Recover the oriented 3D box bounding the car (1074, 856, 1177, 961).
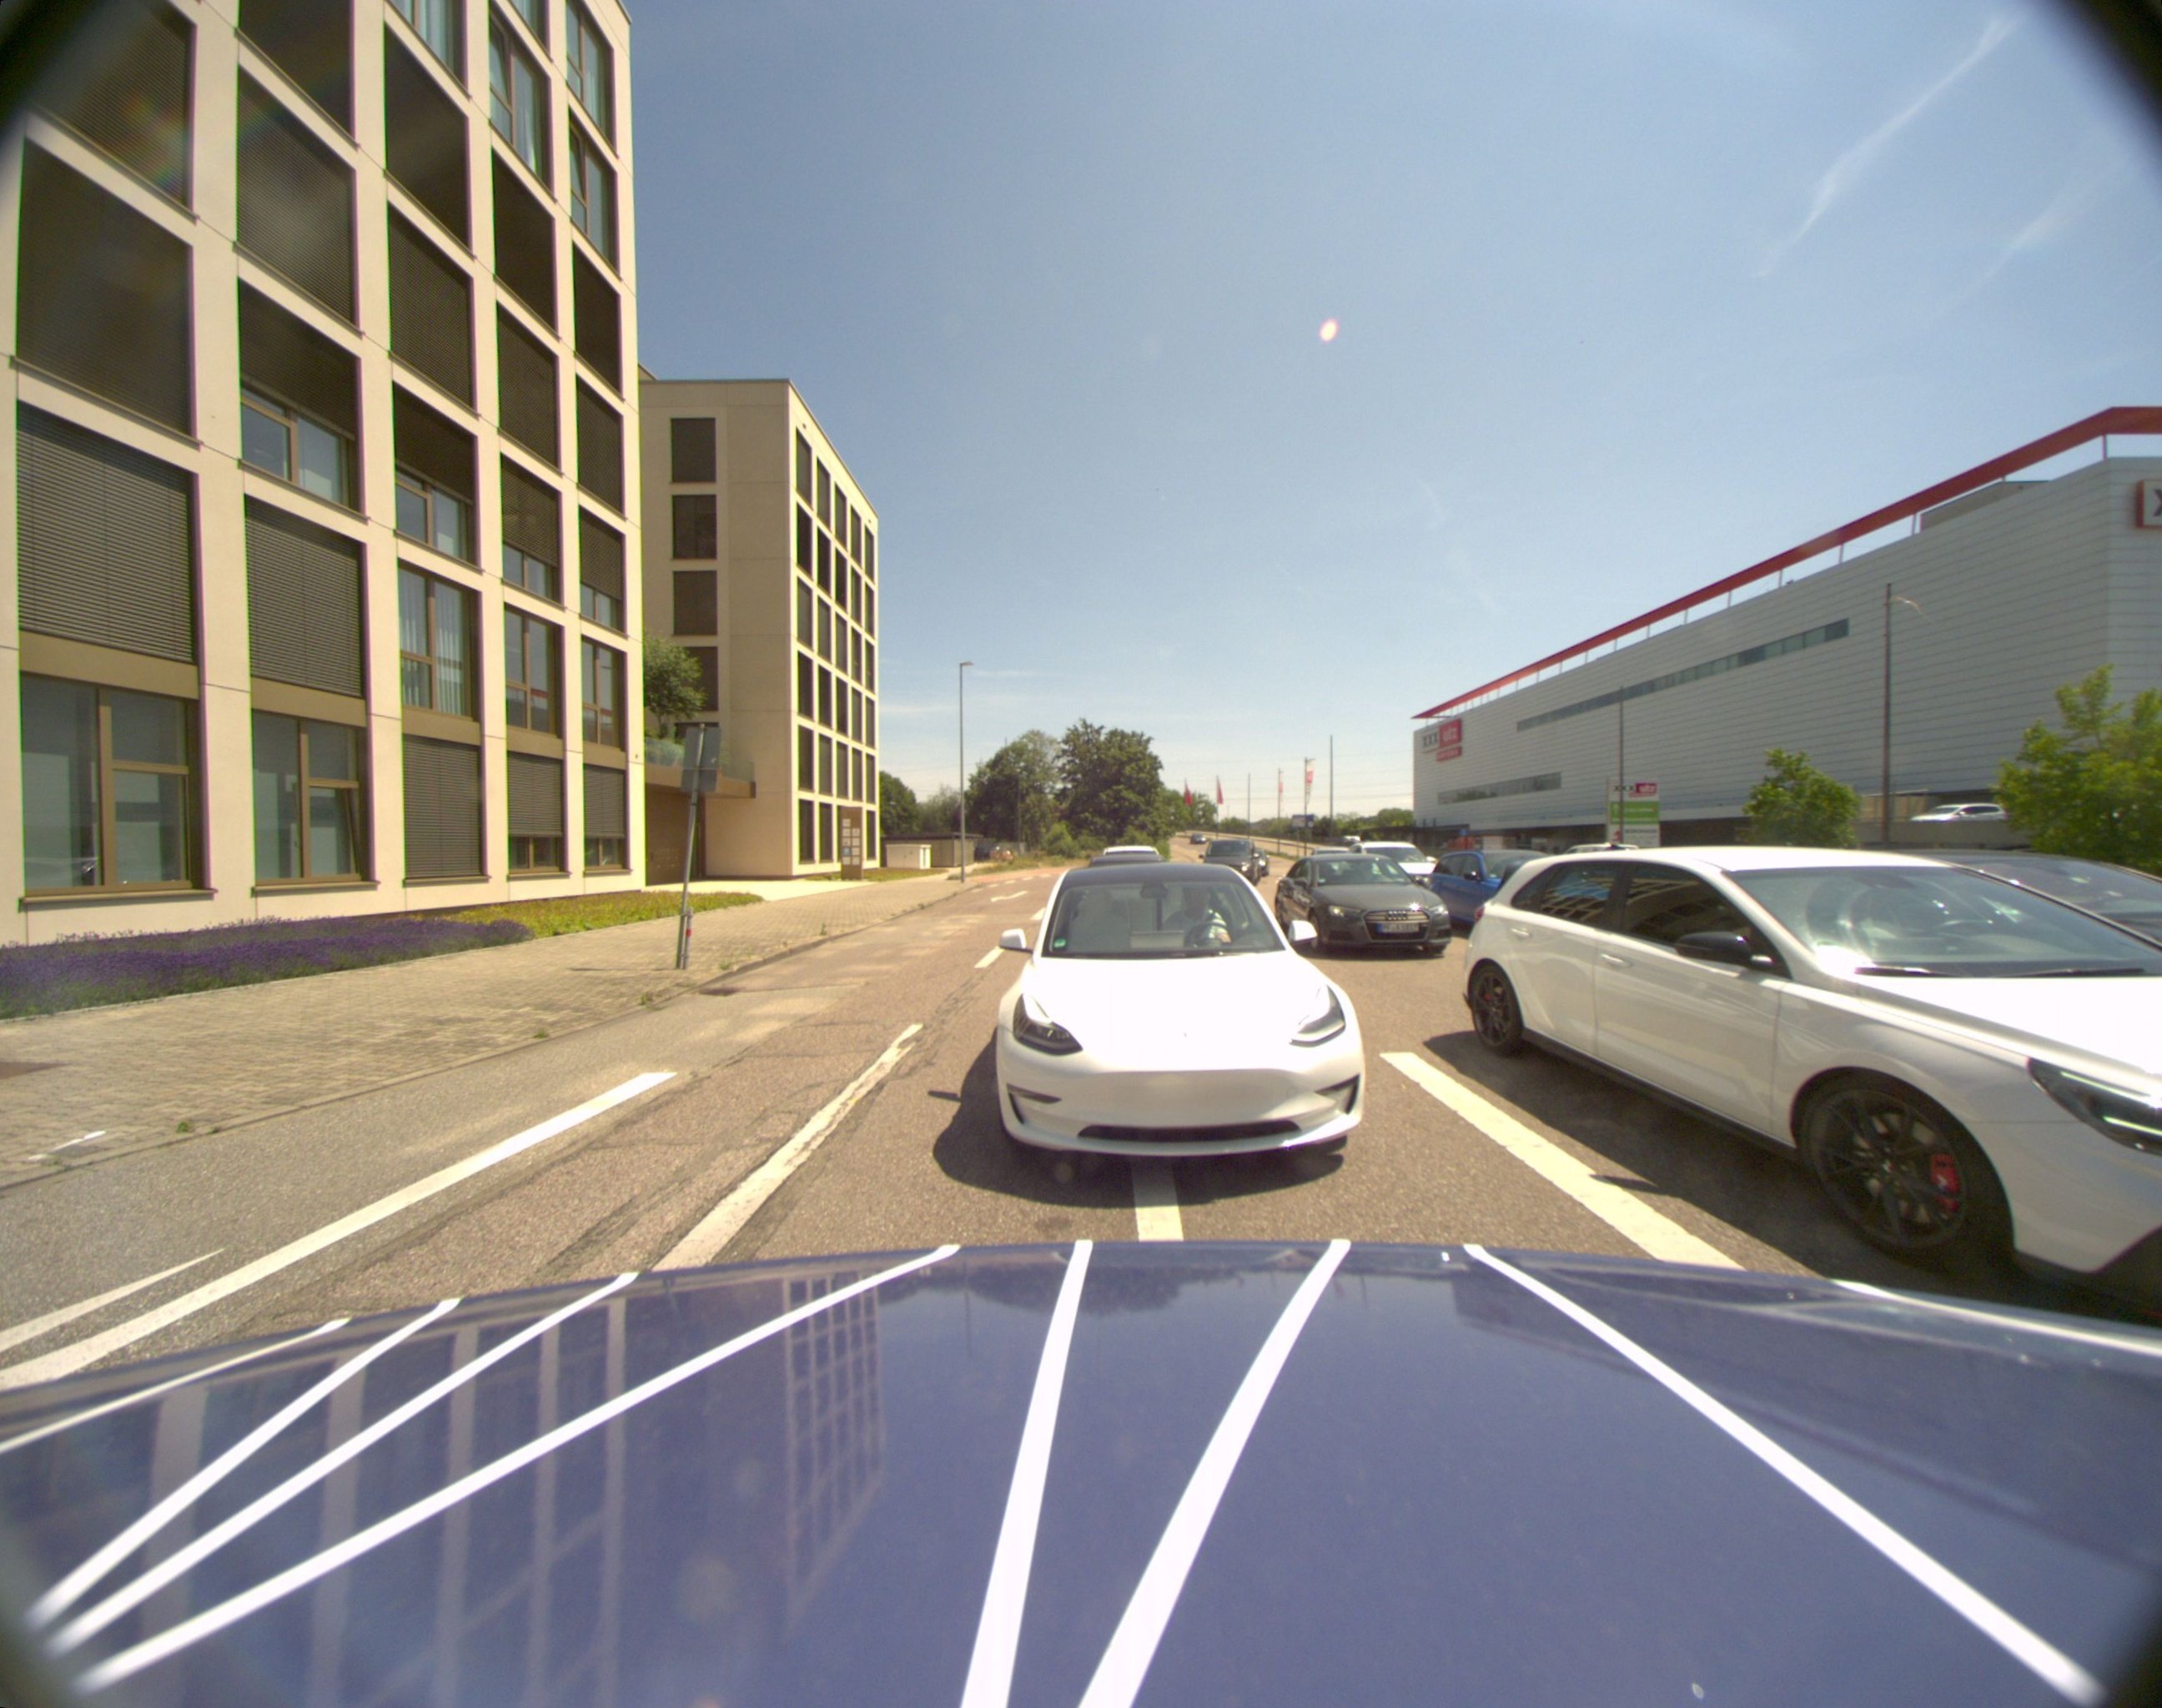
[{"bbox_3d":[0.827,0.828,13.417,1.556,1.528,3.822,0,1,5],"label":"car"}]

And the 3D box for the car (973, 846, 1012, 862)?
[{"bbox_3d":[-9.197,-0.017,79.189,3.834,1.543,1.736,0,1,-13],"label":"car"}]

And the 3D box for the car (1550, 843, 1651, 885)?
[{"bbox_3d":[22.284,0.388,32.786,1.866,1.713,4.044,0,1,5],"label":"car"}]

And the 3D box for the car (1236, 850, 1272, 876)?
[{"bbox_3d":[9.928,0.484,43.442,1.606,1.431,3.738,0,1,19],"label":"car"}]

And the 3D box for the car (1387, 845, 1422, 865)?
[{"bbox_3d":[29.416,0.101,69.273,1.866,1.713,4.045,0,0,7],"label":"car"}]

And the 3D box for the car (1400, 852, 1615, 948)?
[{"bbox_3d":[7.351,0.700,13.664,1.768,1.395,4.433,-2,0,7],"label":"car"}]

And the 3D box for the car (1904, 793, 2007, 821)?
[{"bbox_3d":[51.801,-2.774,45.049,3.996,1.499,1.717,0,1,2],"label":"car"}]

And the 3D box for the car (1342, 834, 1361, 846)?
[{"bbox_3d":[51.951,-2.629,146.180,2.191,2.270,4.814,0,1,4],"label":"car"}]

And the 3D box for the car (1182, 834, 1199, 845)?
[{"bbox_3d":[19.061,-2.497,132.018,1.678,1.805,3.995,-1,1,-11],"label":"car"}]

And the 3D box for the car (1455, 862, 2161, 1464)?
[{"bbox_3d":[3.693,0.820,3.662,1.792,1.428,4.070,-2,1,1],"label":"car"}]

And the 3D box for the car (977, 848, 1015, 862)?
[{"bbox_3d":[-9.093,0.094,81.220,3.834,1.386,1.736,0,1,-13],"label":"car"}]

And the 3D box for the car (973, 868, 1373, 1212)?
[{"bbox_3d":[0.460,0.916,5.704,1.823,1.428,4.284,-2,1,1],"label":"car"}]

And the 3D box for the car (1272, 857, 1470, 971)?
[{"bbox_3d":[4.171,0.767,11.656,1.769,1.374,4.091,0,1,5],"label":"car"}]

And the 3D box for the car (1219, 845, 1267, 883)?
[{"bbox_3d":[7.555,0.423,35.200,1.811,1.630,4.005,0,1,18],"label":"car"}]

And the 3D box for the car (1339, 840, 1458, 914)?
[{"bbox_3d":[7.938,0.502,19.435,1.768,1.632,4.494,-2,1,9],"label":"car"}]

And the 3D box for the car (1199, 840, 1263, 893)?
[{"bbox_3d":[5.730,0.403,28.630,1.893,1.811,4.842,0,1,17],"label":"car"}]

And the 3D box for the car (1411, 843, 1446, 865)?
[{"bbox_3d":[31.691,-0.005,69.319,1.817,1.893,3.730,0,1,6],"label":"car"}]

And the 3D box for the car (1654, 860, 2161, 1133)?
[{"bbox_3d":[6.636,0.776,5.505,1.675,1.396,4.467,-2,0,2],"label":"car"}]

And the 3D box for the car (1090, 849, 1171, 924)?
[{"bbox_3d":[1.241,0.707,18.679,1.777,1.600,3.821,0,1,5],"label":"car"}]

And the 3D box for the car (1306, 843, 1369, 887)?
[{"bbox_3d":[9.121,0.364,27.263,1.767,1.414,3.903,-2,0,14],"label":"car"}]
